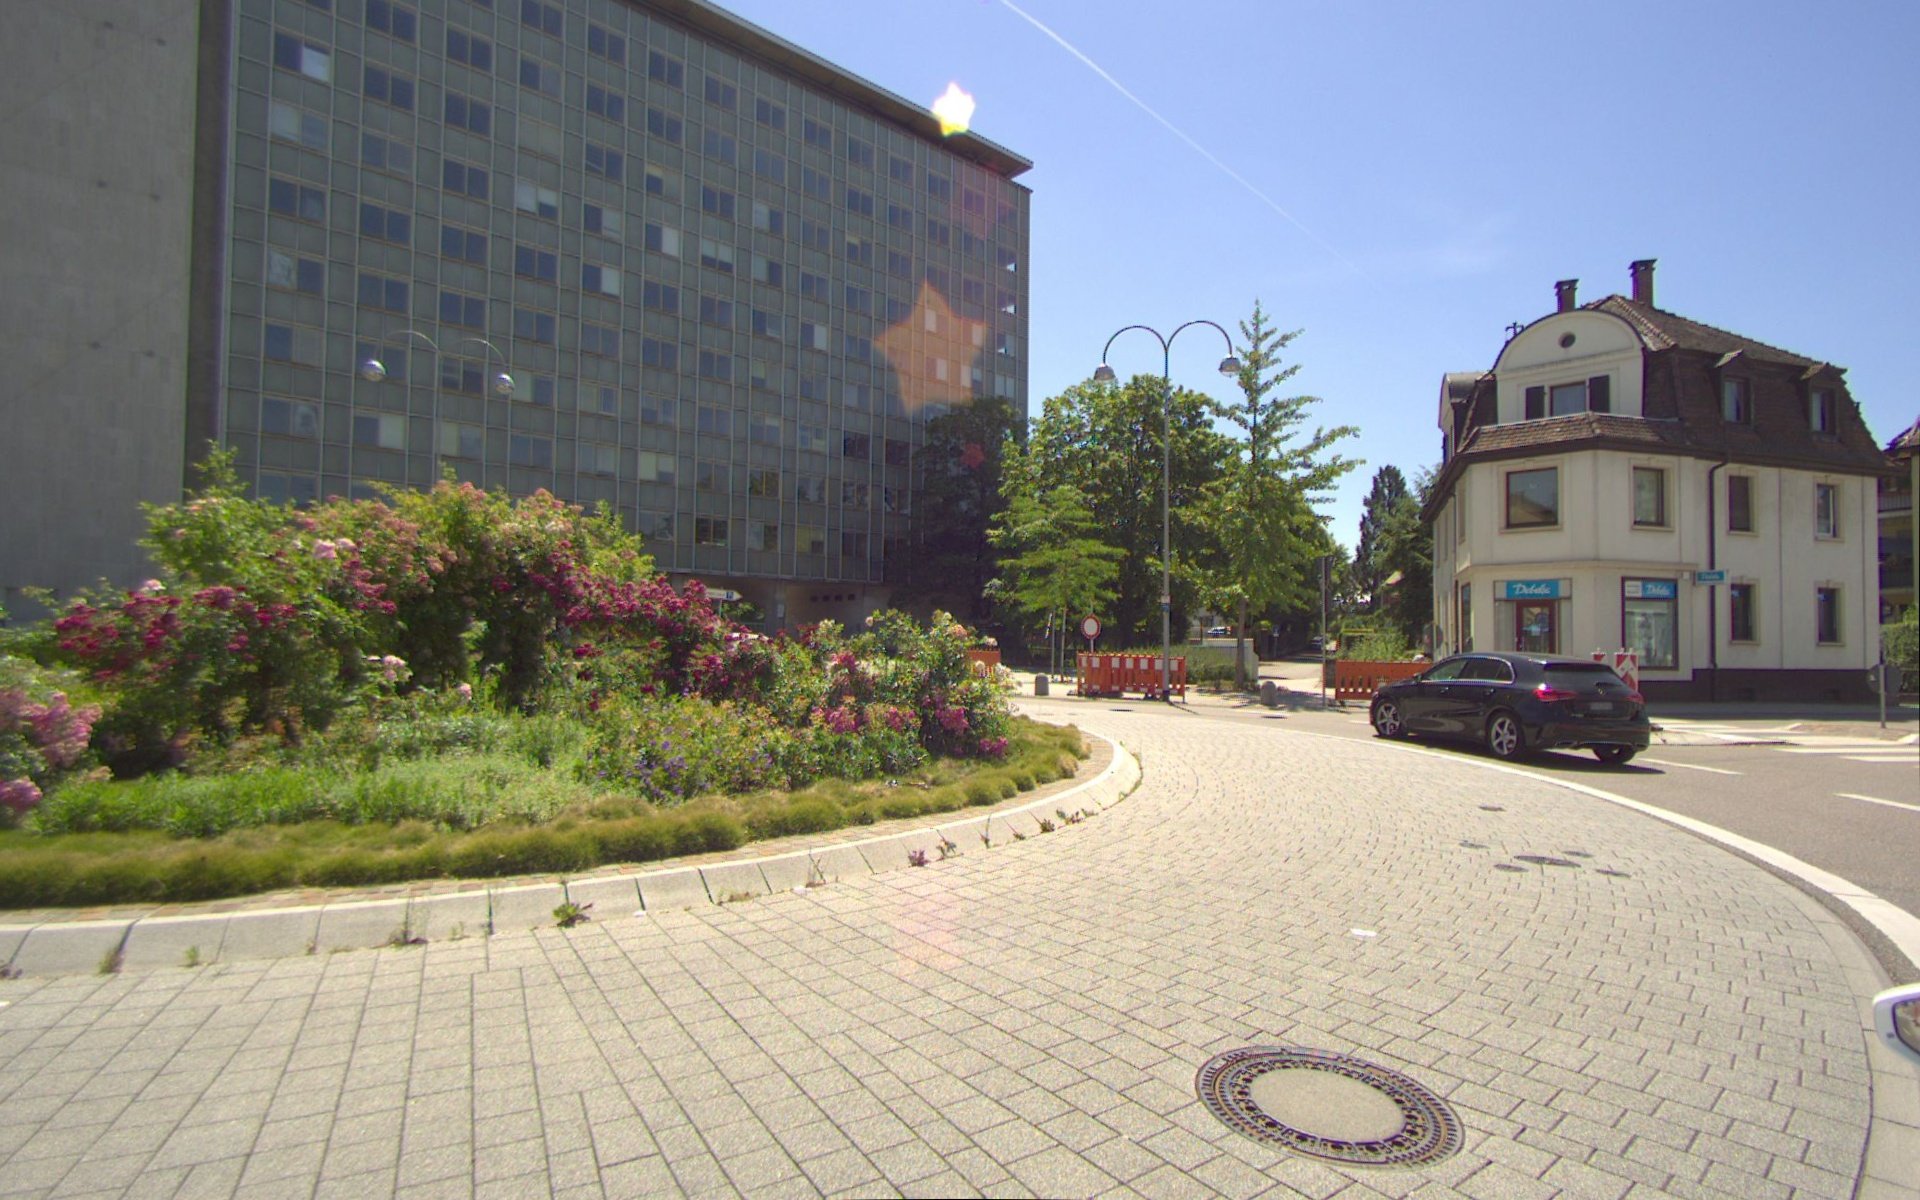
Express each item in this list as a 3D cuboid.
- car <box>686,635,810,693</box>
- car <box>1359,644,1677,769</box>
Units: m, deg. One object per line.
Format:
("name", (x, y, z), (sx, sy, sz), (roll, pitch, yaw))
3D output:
("car", (-6.331, 1.965, 30.405), (1.757, 1.617, 3.920), (-3, -5, 23))
("car", (7.761, 1.422, 14.472), (1.924, 1.446, 3.994), (2, -2, -10))
